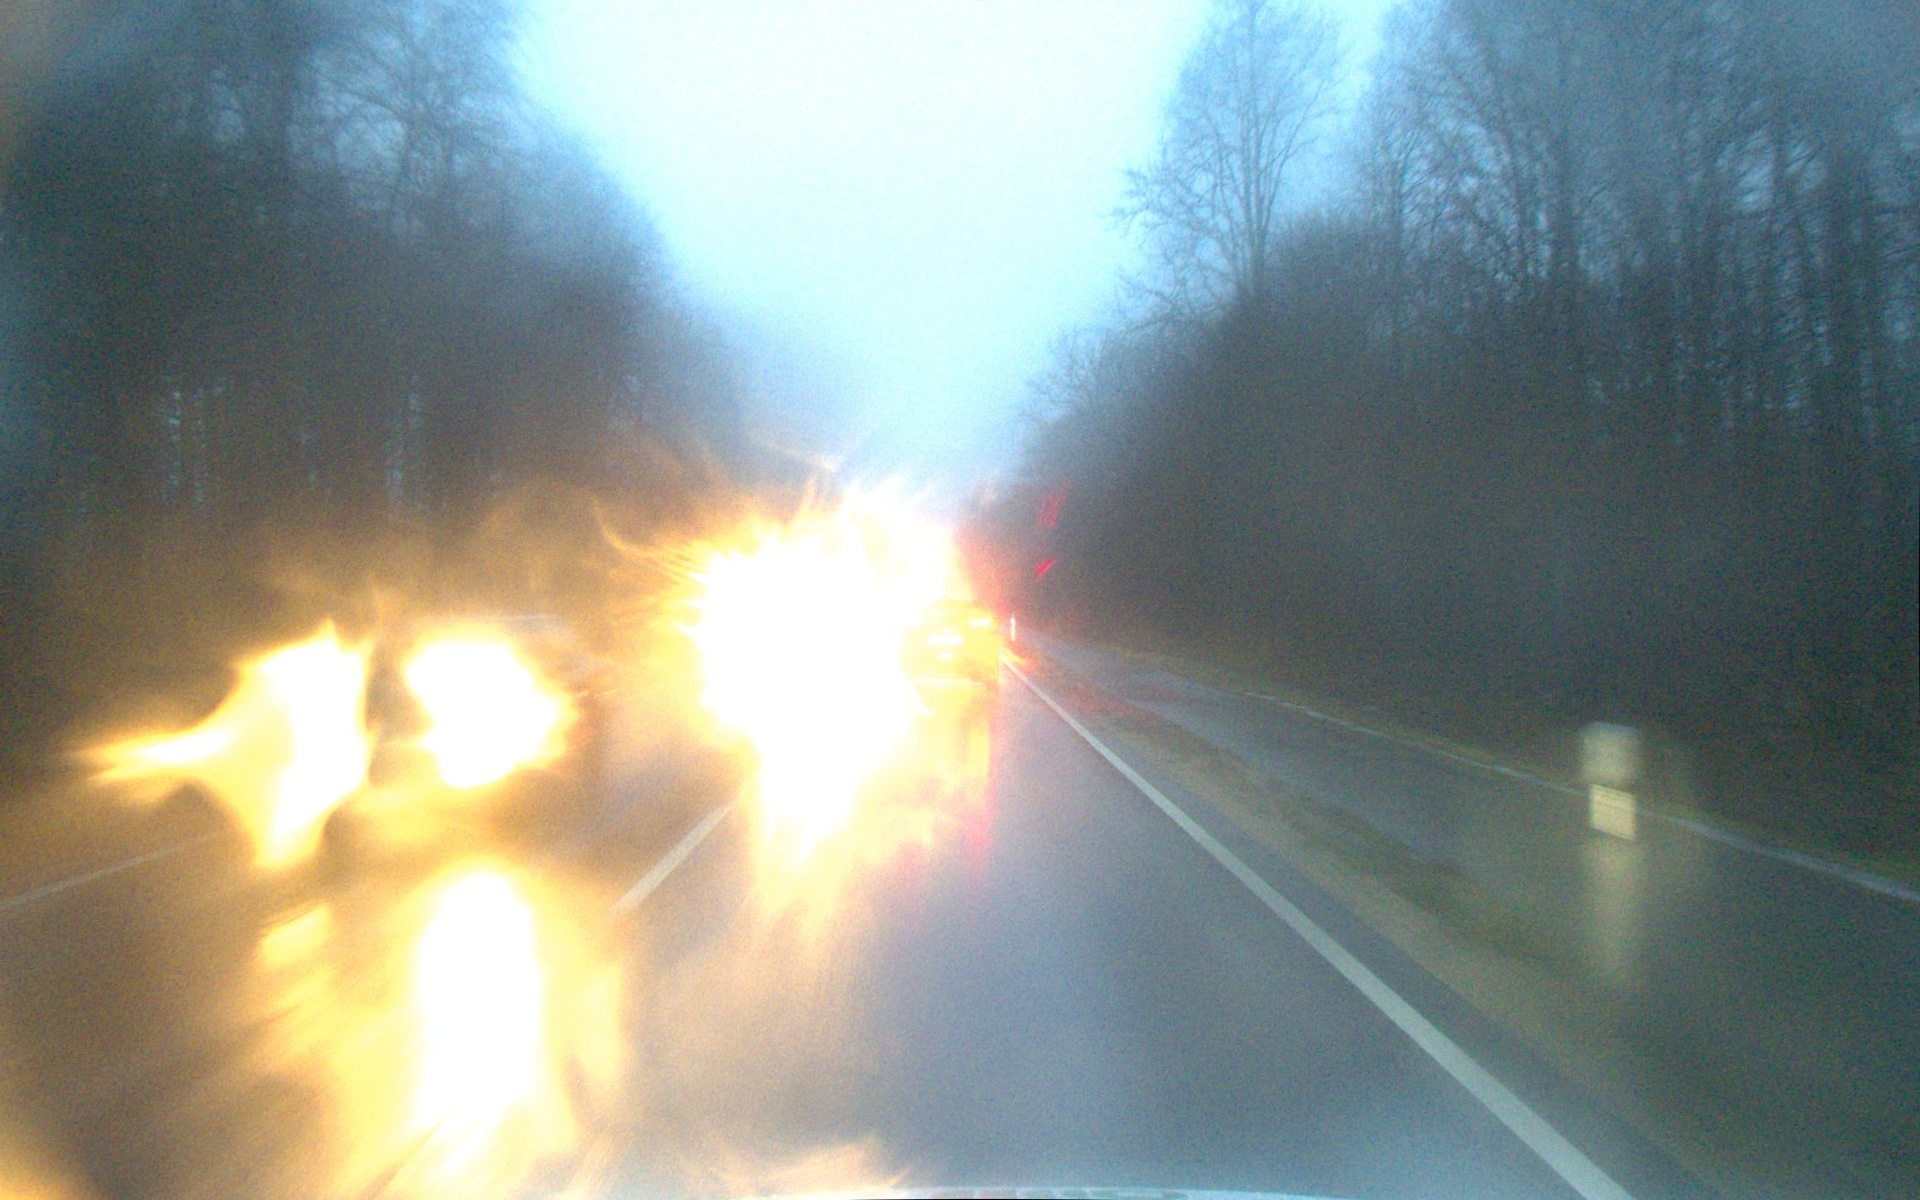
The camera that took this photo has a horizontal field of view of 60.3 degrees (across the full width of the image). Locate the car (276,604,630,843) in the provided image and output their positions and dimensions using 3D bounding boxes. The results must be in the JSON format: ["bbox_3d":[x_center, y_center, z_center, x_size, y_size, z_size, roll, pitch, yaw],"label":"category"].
[{"bbox_3d":[-3.563,0.782,12.276,1.482,1.438,3.660,-2,0,-1],"label":"car"}]

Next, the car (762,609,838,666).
[{"bbox_3d":[-4.158,0.948,43.468,1.669,1.387,4.374,-1,-1,-2],"label":"car"}]
